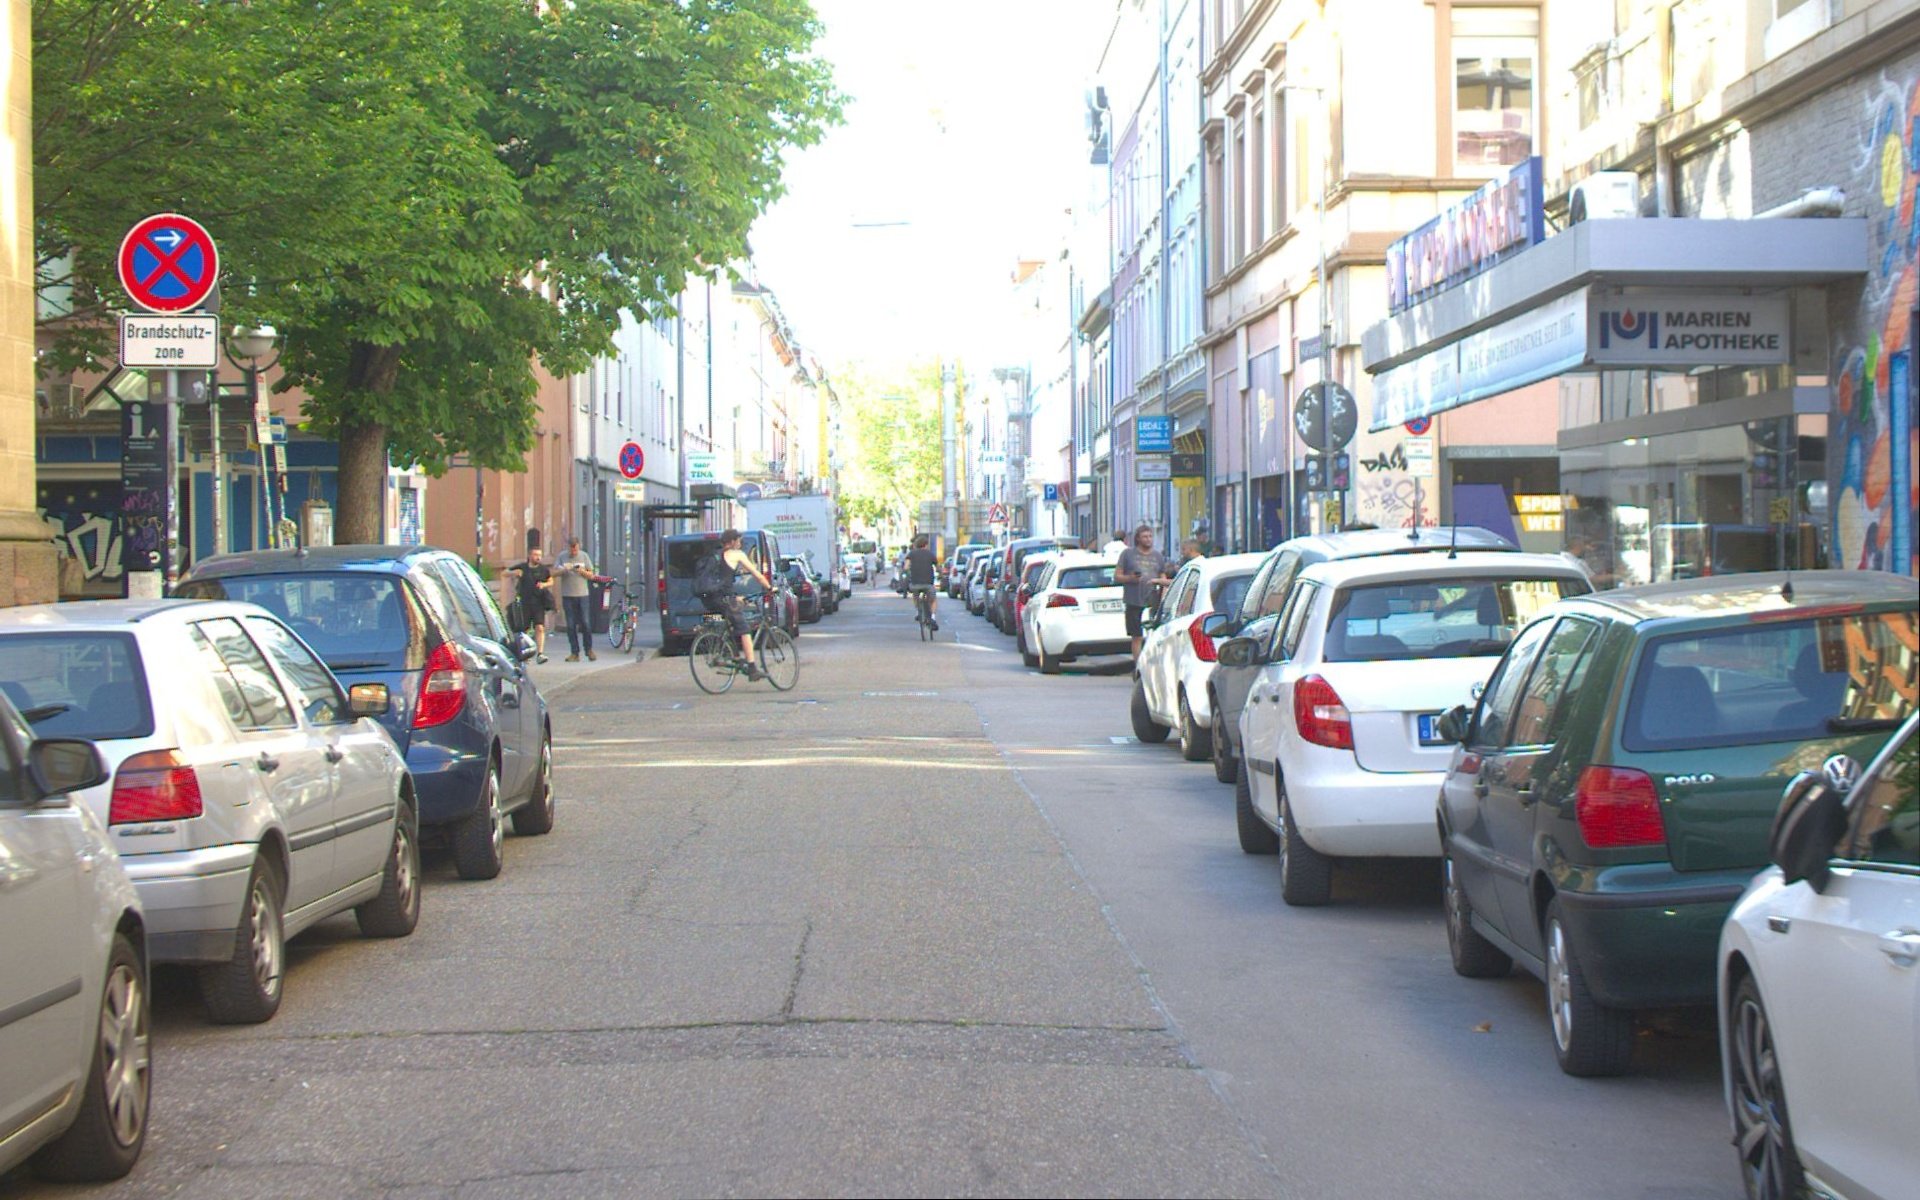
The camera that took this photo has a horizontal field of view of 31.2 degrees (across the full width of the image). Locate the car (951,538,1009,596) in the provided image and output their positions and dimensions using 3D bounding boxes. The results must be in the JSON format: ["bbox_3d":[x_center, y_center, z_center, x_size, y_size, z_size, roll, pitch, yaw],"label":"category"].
[{"bbox_3d":[0.686,-1.168,121.079,1.993,2.007,4.000,0,1,0],"label":"car"}]

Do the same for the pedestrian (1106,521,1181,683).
[{"bbox_3d":[2.110,0.019,39.612,0.681,1.837,0.695,1,1,-12],"label":"pedestrian"}]

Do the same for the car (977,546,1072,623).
[{"bbox_3d":[1.451,-0.370,78.615,1.993,1.626,4.000,2,1,0],"label":"car"}]

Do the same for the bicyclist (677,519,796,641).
[{"bbox_3d":[-2.422,-0.218,37.272,0.757,1.302,1.060,1,1,44],"label":"bicyclist"}]

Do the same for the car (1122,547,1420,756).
[{"bbox_3d":[2.302,0.339,26.340,1.716,1.483,3.870,0,1,-3],"label":"car"}]

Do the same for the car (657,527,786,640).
[{"bbox_3d":[-3.889,-0.294,56.616,1.875,1.790,4.000,0,1,0],"label":"car"}]

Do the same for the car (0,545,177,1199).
[{"bbox_3d":[-2.813,0.680,6.822,1.672,1.553,4.000,-1,1,-1],"label":"car"}]

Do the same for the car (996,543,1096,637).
[{"bbox_3d":[1.599,-0.216,65.167,1.769,1.735,4.000,0,1,0],"label":"car"}]

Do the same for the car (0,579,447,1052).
[{"bbox_3d":[-3.036,0.679,12.511,1.570,1.393,3.808,-3,1,2],"label":"car"}]

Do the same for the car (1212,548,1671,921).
[{"bbox_3d":[2.128,0.528,16.164,1.603,1.499,4.000,1,1,1],"label":"car"}]

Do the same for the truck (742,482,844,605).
[{"bbox_3d":[-4.568,-1.543,94.950,2.532,3.270,6.995,0,1,0],"label":"truck"}]

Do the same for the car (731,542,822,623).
[{"bbox_3d":[-4.154,-0.415,78.371,1.875,1.790,4.000,0,1,0],"label":"car"}]

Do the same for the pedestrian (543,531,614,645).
[{"bbox_3d":[-5.543,-0.178,50.007,0.929,1.632,0.806,0,1,0],"label":"pedestrian"}]

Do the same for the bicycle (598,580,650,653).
[{"bbox_3d":[-5.245,0.252,53.603,0.644,1.105,1.605,0,1,-11],"label":"bicycle"}]

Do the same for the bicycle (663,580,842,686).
[{"bbox_3d":[-2.251,0.344,37.454,0.767,1.106,1.942,1,1,44],"label":"bicycle"}]

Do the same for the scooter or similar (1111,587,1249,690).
[{"bbox_3d":[2.467,0.430,38.464,1.530,1.135,0.601,0,1,5],"label":"scooter or similar"}]

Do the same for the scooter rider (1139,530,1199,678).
[{"bbox_3d":[2.338,0.041,38.461,0.650,1.637,0.683,0,1,5],"label":"scooter rider"}]

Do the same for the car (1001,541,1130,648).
[{"bbox_3d":[1.645,-0.114,54.731,1.897,1.645,4.000,0,1,0],"label":"car"}]

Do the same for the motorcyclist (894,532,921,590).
[{"bbox_3d":[-1.823,-1.366,119.498,0.902,2.007,1.190,0,1,-2],"label":"motorcyclist"}]

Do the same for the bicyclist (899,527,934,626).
[{"bbox_3d":[-0.754,-0.407,59.271,0.605,1.682,0.885,0,1,-1],"label":"bicyclist"}]

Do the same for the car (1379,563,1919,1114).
[{"bbox_3d":[2.402,0.648,11.338,1.569,1.490,3.653,2,1,0],"label":"car"}]

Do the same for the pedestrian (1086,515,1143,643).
[{"bbox_3d":[2.266,-0.314,50.366,0.783,1.837,1.011,1,1,4],"label":"pedestrian"}]

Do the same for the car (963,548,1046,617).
[{"bbox_3d":[1.134,-0.480,89.368,1.993,1.680,4.000,2,1,0],"label":"car"}]

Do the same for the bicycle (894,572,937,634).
[{"bbox_3d":[-0.760,0.045,59.326,0.739,1.040,1.859,0,1,0],"label":"bicycle"}]

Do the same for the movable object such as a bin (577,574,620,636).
[{"bbox_3d":[-6.722,0.092,63.911,0.714,1.138,0.583,0,1,3],"label":"movable object such as a bin"}]

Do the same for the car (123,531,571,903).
[{"bbox_3d":[-2.973,0.504,17.365,1.600,1.609,3.808,-2,1,-1],"label":"car"}]

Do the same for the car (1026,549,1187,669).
[{"bbox_3d":[1.854,0.084,44.566,1.897,1.483,3.869,0,1,0],"label":"car"}]

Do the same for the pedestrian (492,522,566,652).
[{"bbox_3d":[-5.969,-0.181,47.644,0.929,1.780,0.806,0,1,0],"label":"pedestrian"}]

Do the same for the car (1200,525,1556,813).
[{"bbox_3d":[2.516,0.365,21.535,1.716,1.640,4.000,0,1,0],"label":"car"}]

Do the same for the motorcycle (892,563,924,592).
[{"bbox_3d":[-1.804,-0.773,118.901,1.042,0.977,2.825,0,1,-3],"label":"motorcycle"}]

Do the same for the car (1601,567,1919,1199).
[{"bbox_3d":[2.527,0.712,6.380,1.779,1.481,4.360,2,1,-1],"label":"car"}]
